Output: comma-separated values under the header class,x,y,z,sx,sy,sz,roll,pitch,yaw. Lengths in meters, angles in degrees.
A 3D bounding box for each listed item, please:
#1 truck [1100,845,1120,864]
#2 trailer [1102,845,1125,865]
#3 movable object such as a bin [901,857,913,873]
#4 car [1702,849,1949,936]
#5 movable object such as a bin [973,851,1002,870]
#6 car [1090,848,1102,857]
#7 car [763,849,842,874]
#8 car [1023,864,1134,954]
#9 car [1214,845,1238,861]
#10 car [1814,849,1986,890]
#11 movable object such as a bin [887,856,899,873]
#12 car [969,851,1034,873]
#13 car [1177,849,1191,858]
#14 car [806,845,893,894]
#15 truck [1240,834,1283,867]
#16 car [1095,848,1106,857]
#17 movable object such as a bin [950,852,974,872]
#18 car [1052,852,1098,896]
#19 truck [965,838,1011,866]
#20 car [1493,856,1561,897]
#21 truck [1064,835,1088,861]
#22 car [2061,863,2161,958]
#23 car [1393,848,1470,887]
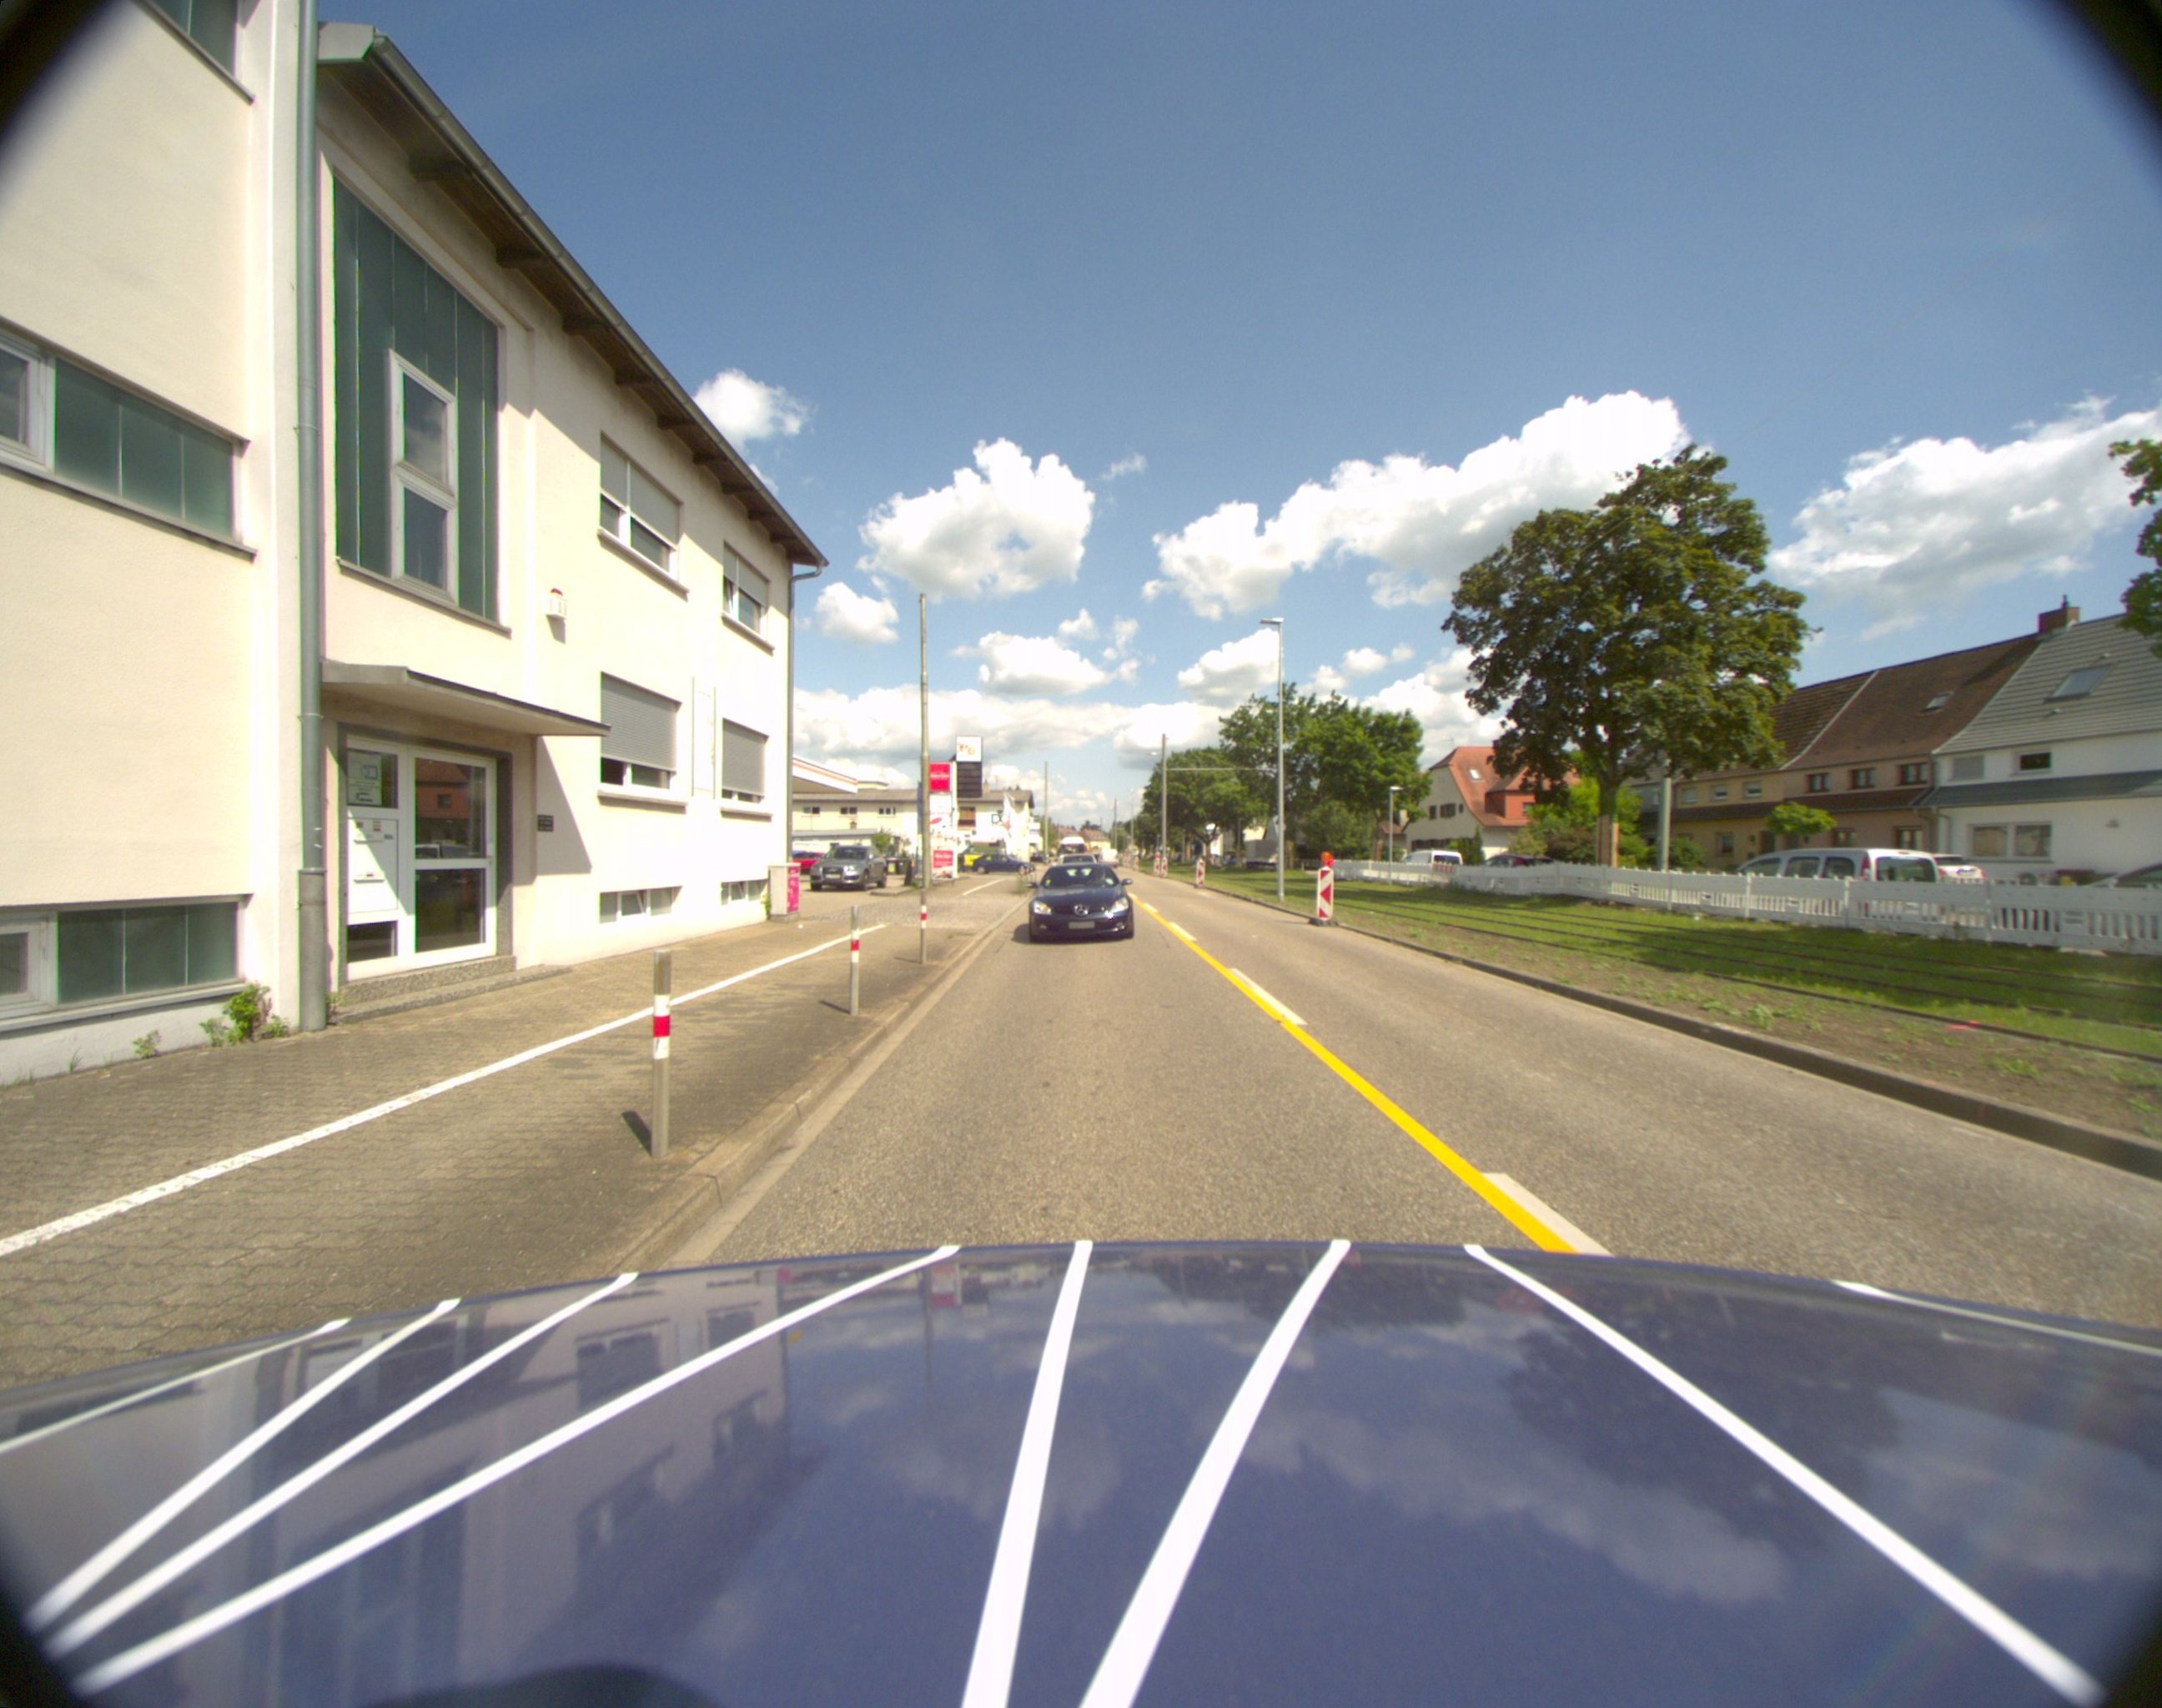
class,x,y,z,sx,sy,sz,roll,pitch,yaw
truck,3.045,0.024,80.687,1.825,1.899,5.114,2,1,-2
trailer,3.226,0.079,76.576,2.067,1.825,5.484,2,1,0
movable object such as a bin,-11.097,0.697,48.406,0.582,1.004,0.706,-2,1,-1
car,16.359,0.752,17.015,1.627,1.642,3.898,1,1,0
movable object such as a bin,-7.096,0.465,57.714,1.968,1.339,1.708,-2,1,-1
car,2.474,-0.261,125.149,1.697,1.404,3.858,2,1,-1
car,-16.942,0.455,46.347,4.145,1.416,1.771,1,1,1
car,-0.037,0.895,14.053,1.732,1.259,3.999,-2,1,0
car,14.961,-0.147,78.476,1.672,1.504,3.930,-2,1,0
car,28.475,0.484,26.641,1.538,1.268,4.119,1,1,0
movable object such as a bin,-11.969,0.670,48.425,0.582,1.004,0.706,-2,1,-1
car,-5.313,0.540,51.067,4.061,1.400,1.647,0,1,6
car,16.006,-0.056,117.956,1.637,1.294,3.999,-2,1,0
car,-8.399,0.497,27.975,1.951,1.615,4.614,1,1,-2
truck,16.090,-0.344,67.983,2.371,2.789,5.950,-2,1,0
car,3.586,-0.253,140.214,1.829,1.656,4.461,1,1,0
movable object such as a bin,-8.980,0.602,57.589,1.536,1.402,1.765,-2,1,-1
car,-0.206,0.698,28.406,1.594,1.418,3.706,-2,1,0
truck,-9.128,-0.196,74.606,4.181,2.645,2.108,-2,1,1
car,15.976,0.760,27.298,1.075,1.340,2.449,1,1,4
truck,-0.514,-0.751,87.826,2.632,2.872,7.922,-2,1,1
car,16.435,0.839,10.648,1.353,1.369,3.114,1,0,0
car,16.090,0.564,35.136,1.657,1.616,4.000,1,1,0
